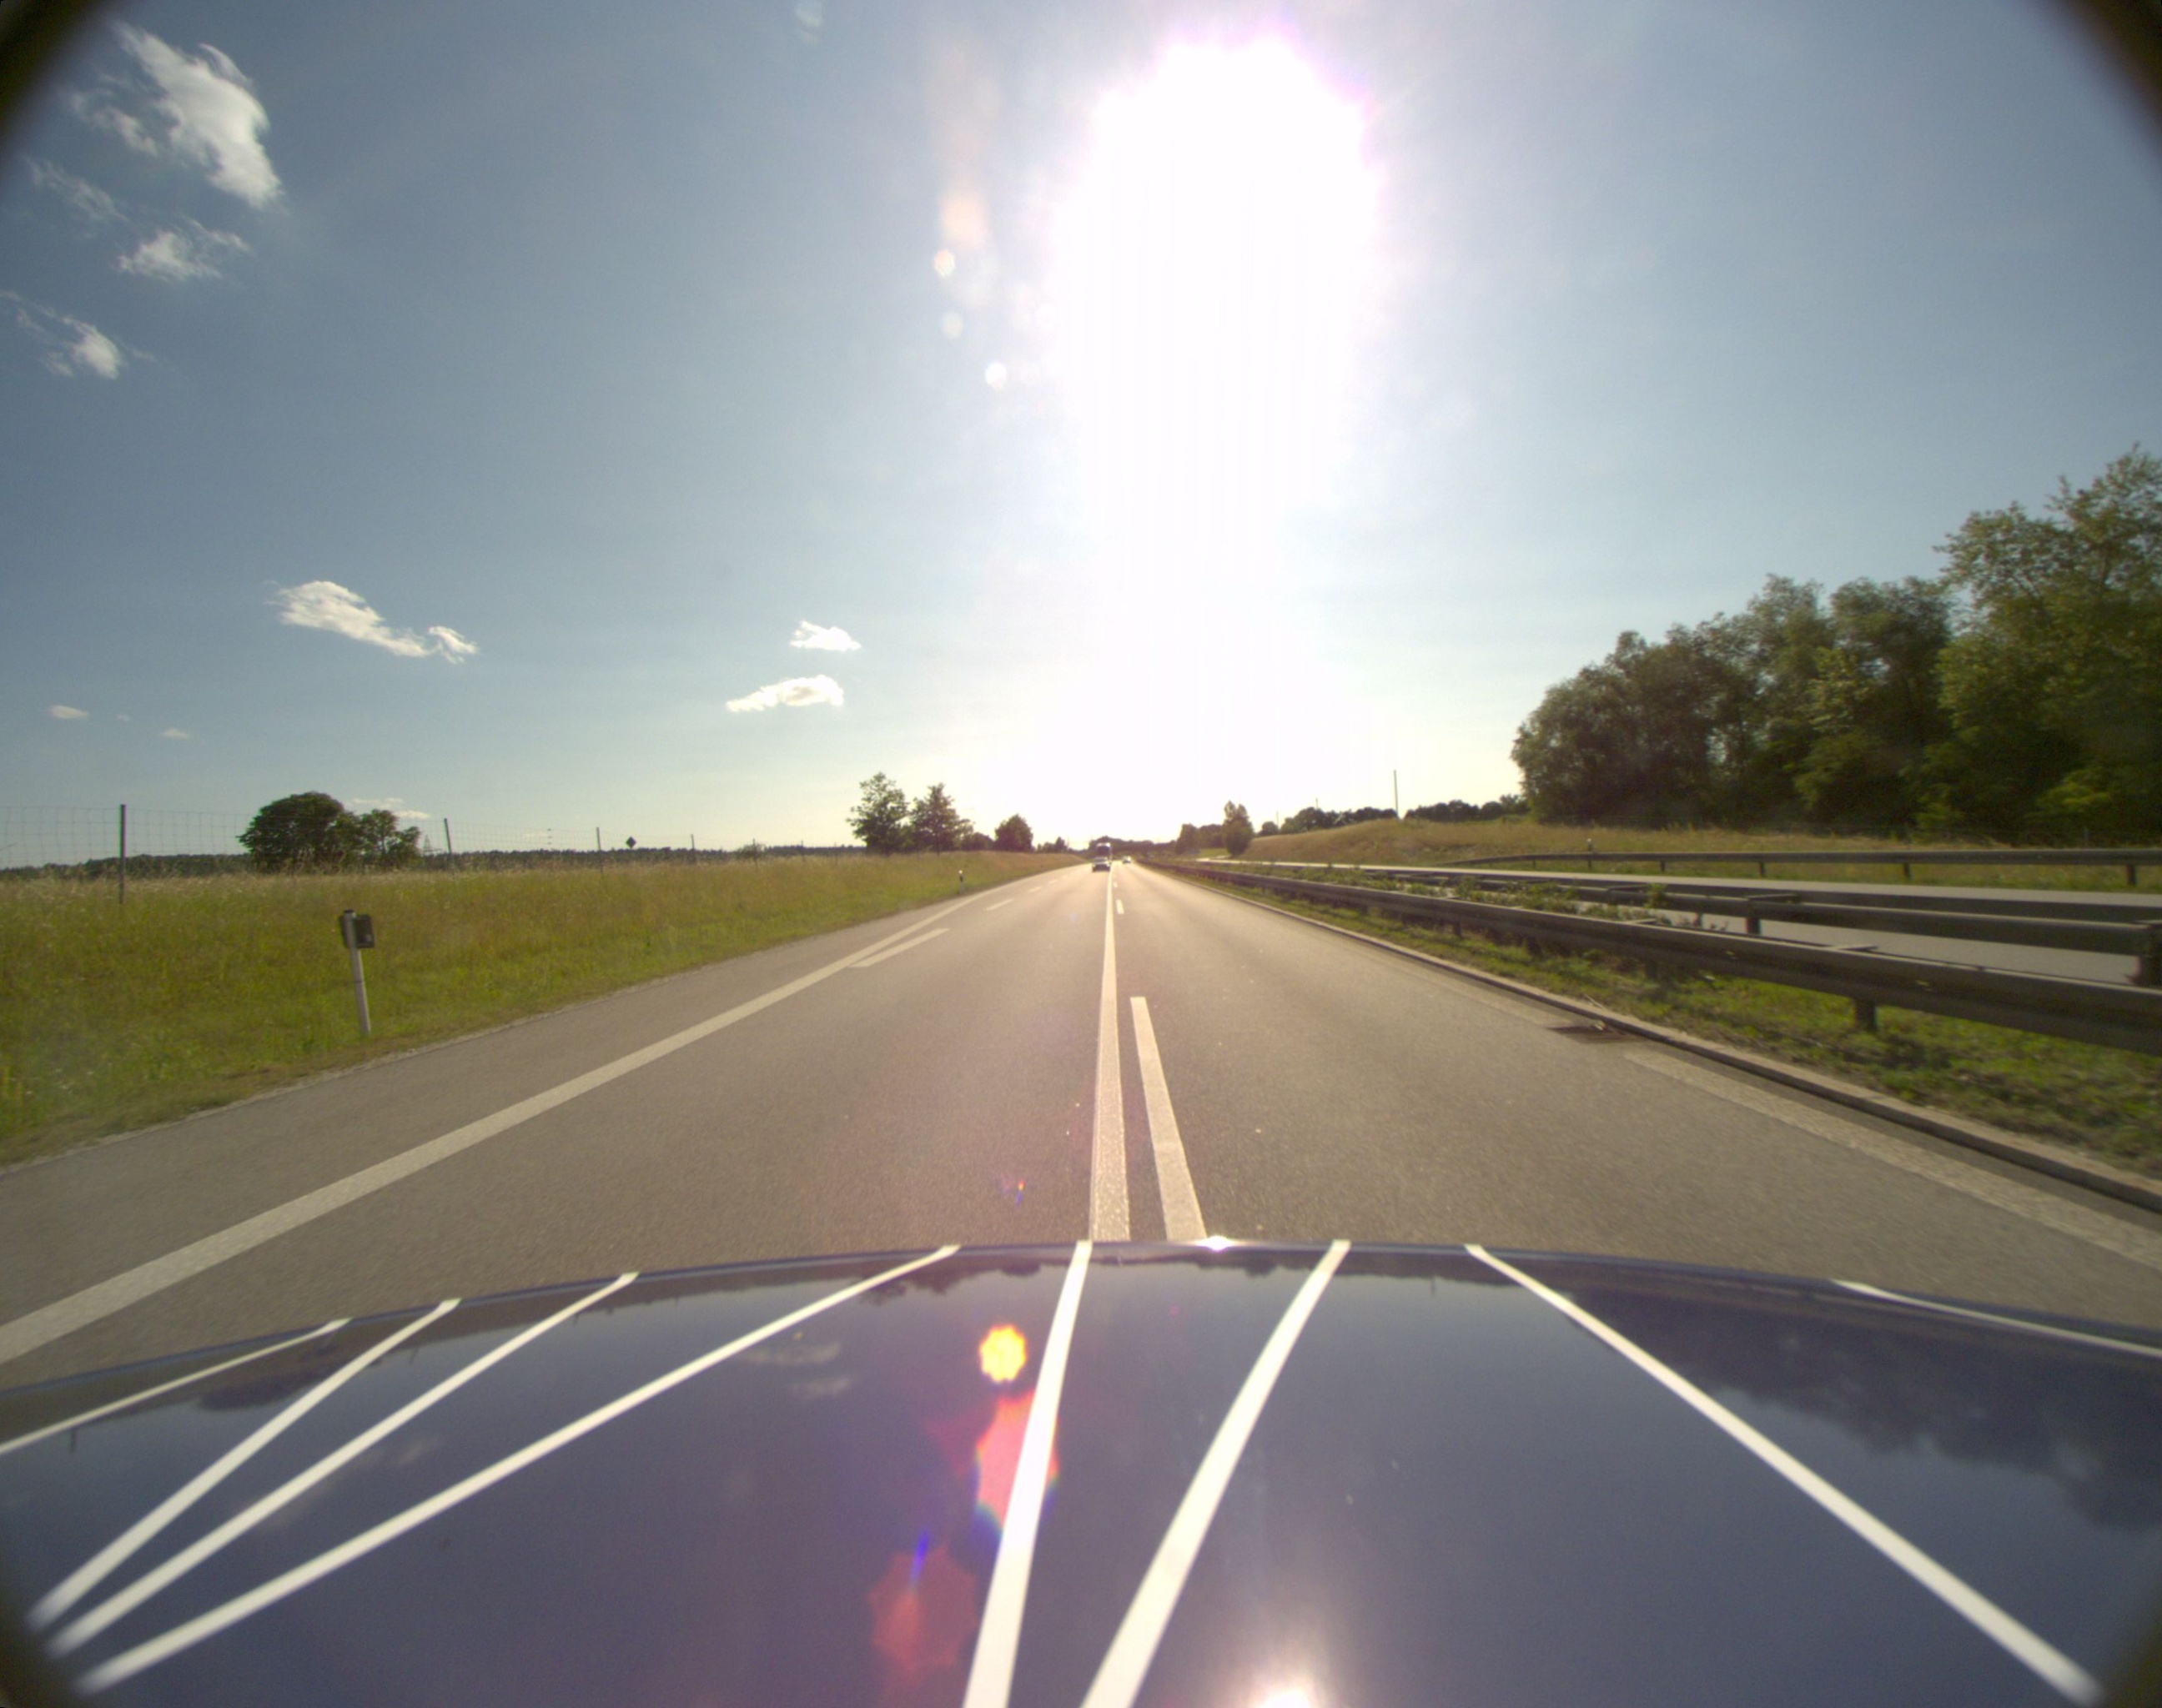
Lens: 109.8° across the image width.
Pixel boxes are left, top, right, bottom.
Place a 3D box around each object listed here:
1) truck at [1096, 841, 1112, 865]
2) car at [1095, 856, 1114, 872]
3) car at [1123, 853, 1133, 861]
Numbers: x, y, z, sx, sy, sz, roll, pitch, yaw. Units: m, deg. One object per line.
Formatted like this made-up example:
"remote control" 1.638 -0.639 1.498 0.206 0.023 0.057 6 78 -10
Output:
"truck" 4.457 -0.216 143.003 2.536 4.228 11.267 -2 0 3
"car" 2.417 0.991 77.953 1.870 1.514 4.284 -2 0 3
"car" 9.557 0.578 154.097 1.998 1.652 4.001 -1 0 3
